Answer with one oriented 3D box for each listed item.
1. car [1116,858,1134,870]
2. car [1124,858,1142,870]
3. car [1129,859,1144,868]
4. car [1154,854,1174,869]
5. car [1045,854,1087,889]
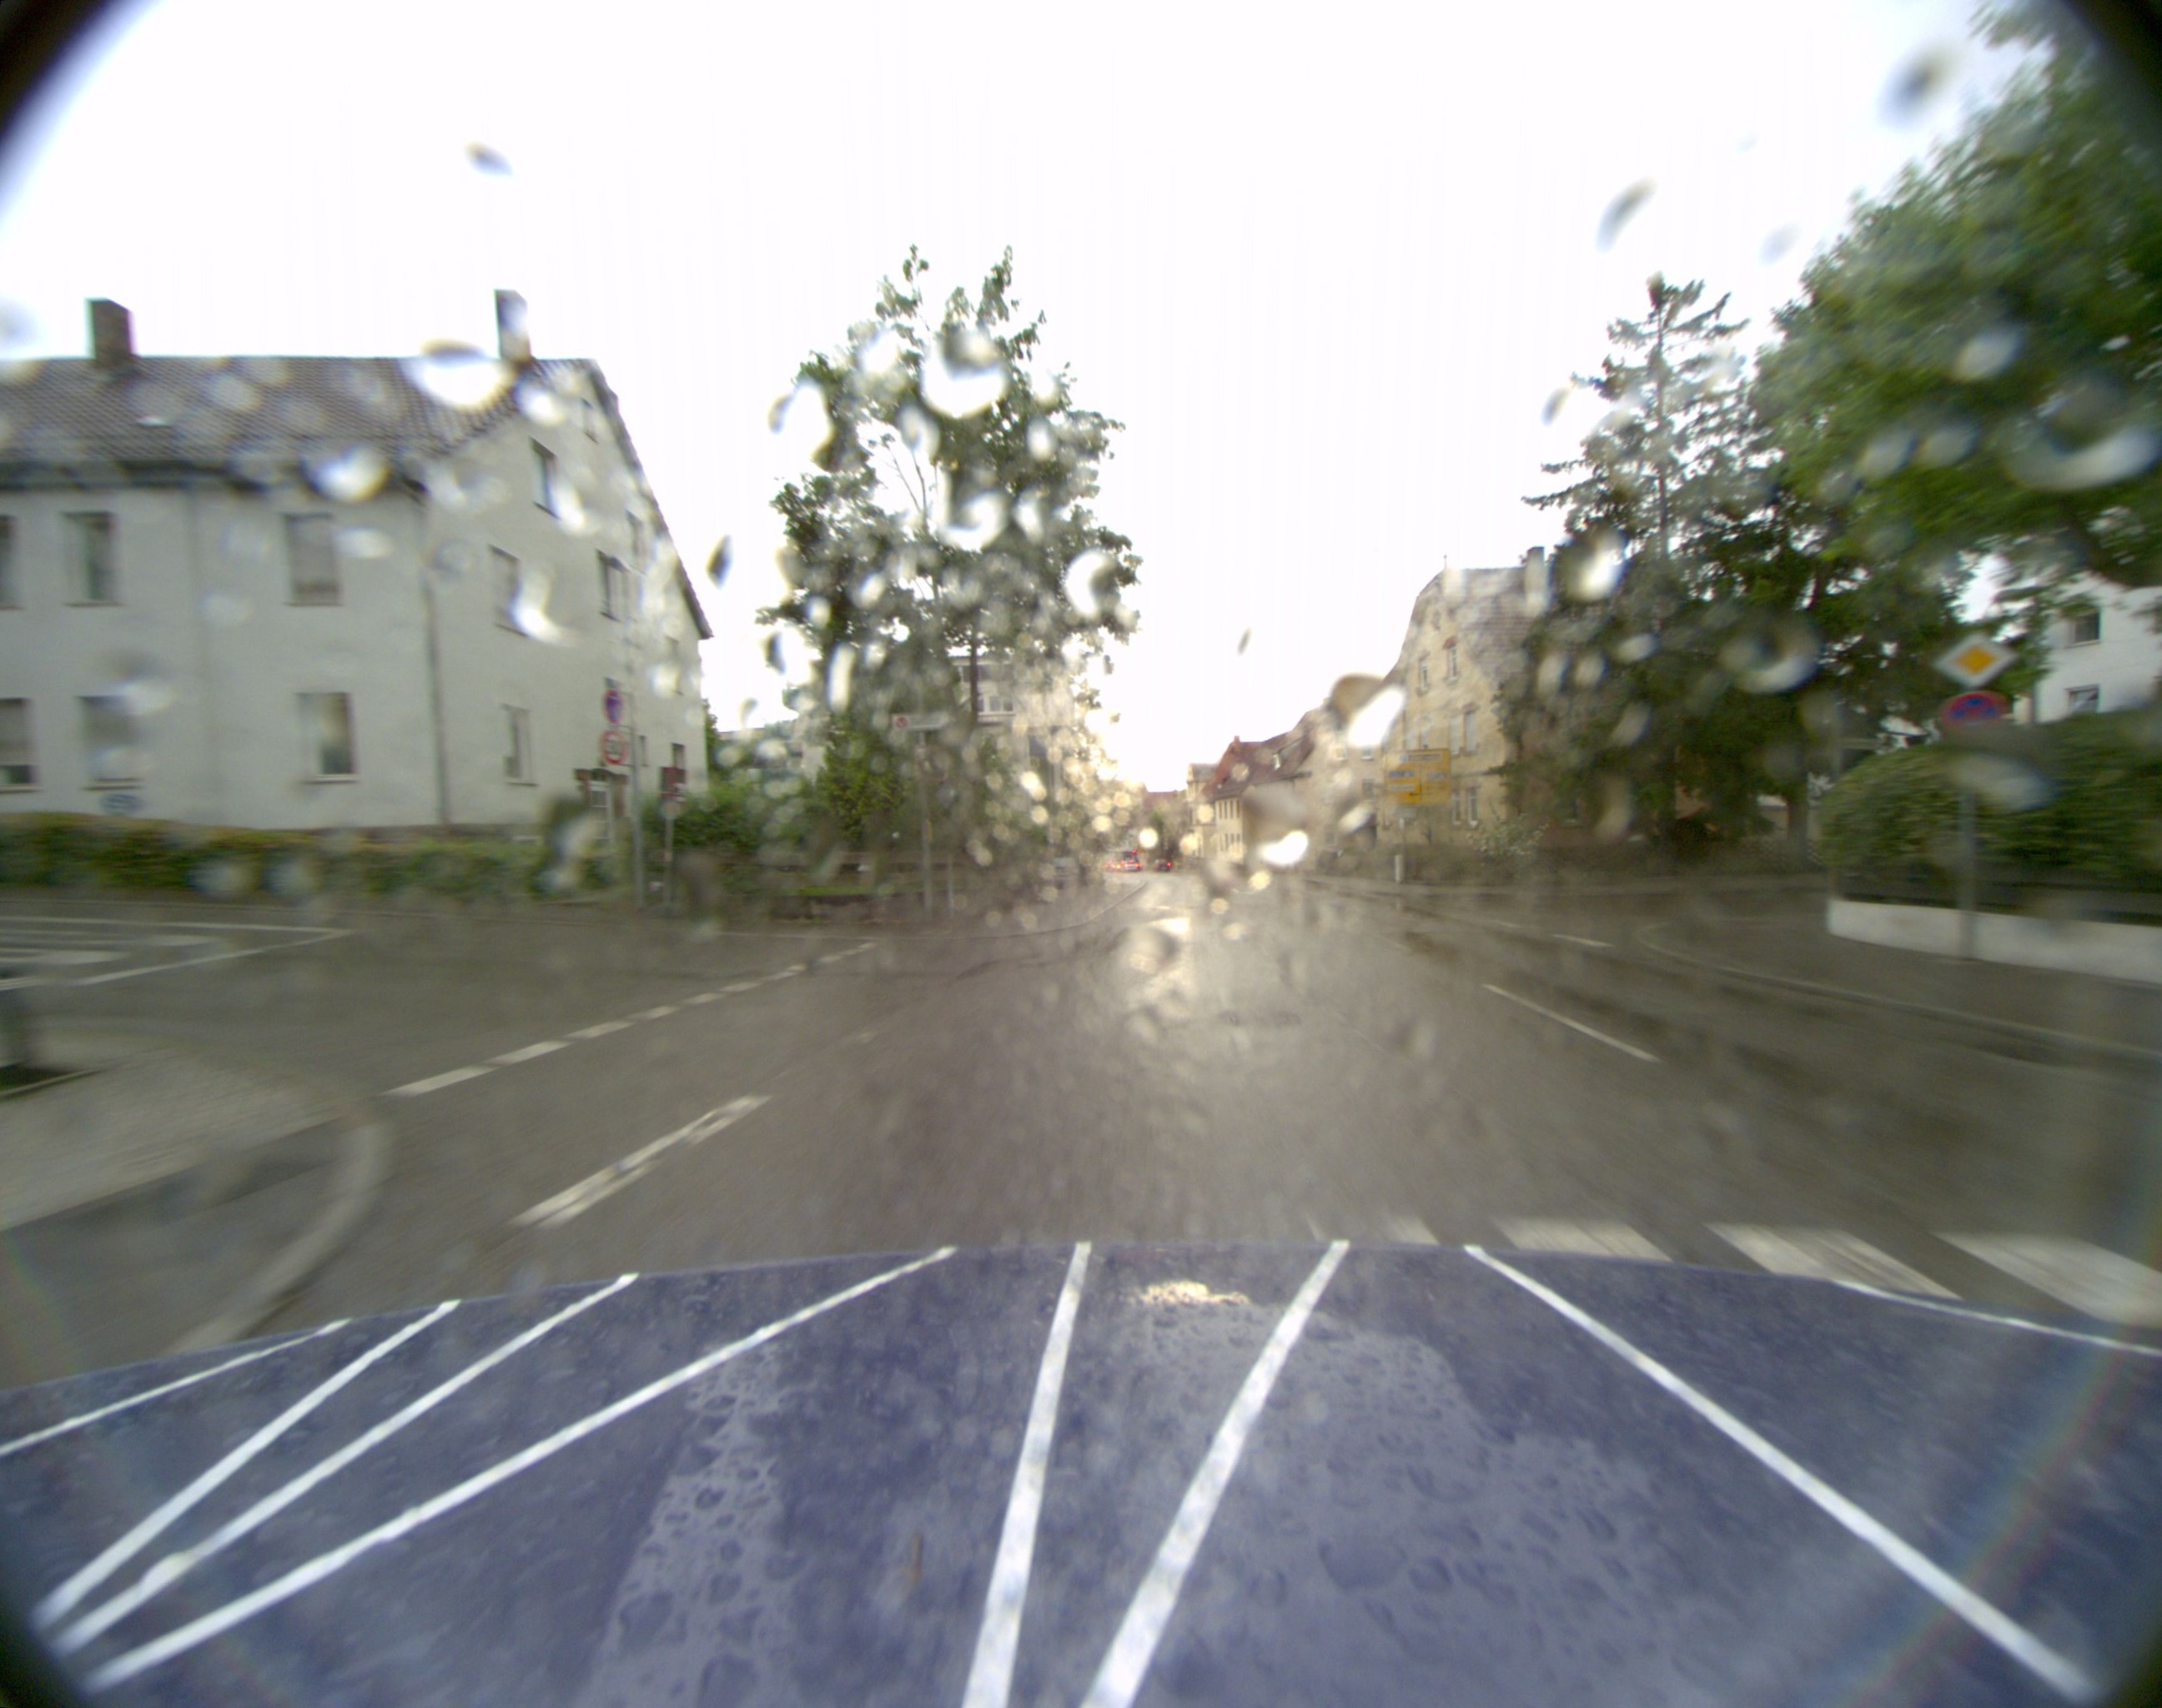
[{"bbox_3d":[5.933,1.333,102.650,1.804,1.431,4.688,-2,-1,-3],"label":"car"},{"bbox_3d":[6.436,1.226,94.510,1.804,1.431,4.689,-2,-1,-1],"label":"car"},{"bbox_3d":[8.490,1.413,115.809,1.742,1.346,4.059,-2,-1,-4],"label":"car"},{"bbox_3d":[9.476,0.838,86.676,1.749,1.562,3.813,-5,0,1],"label":"car"},{"bbox_3d":[-0.711,0.840,38.827,1.785,1.561,4.728,-4,0,2],"label":"car"}]
